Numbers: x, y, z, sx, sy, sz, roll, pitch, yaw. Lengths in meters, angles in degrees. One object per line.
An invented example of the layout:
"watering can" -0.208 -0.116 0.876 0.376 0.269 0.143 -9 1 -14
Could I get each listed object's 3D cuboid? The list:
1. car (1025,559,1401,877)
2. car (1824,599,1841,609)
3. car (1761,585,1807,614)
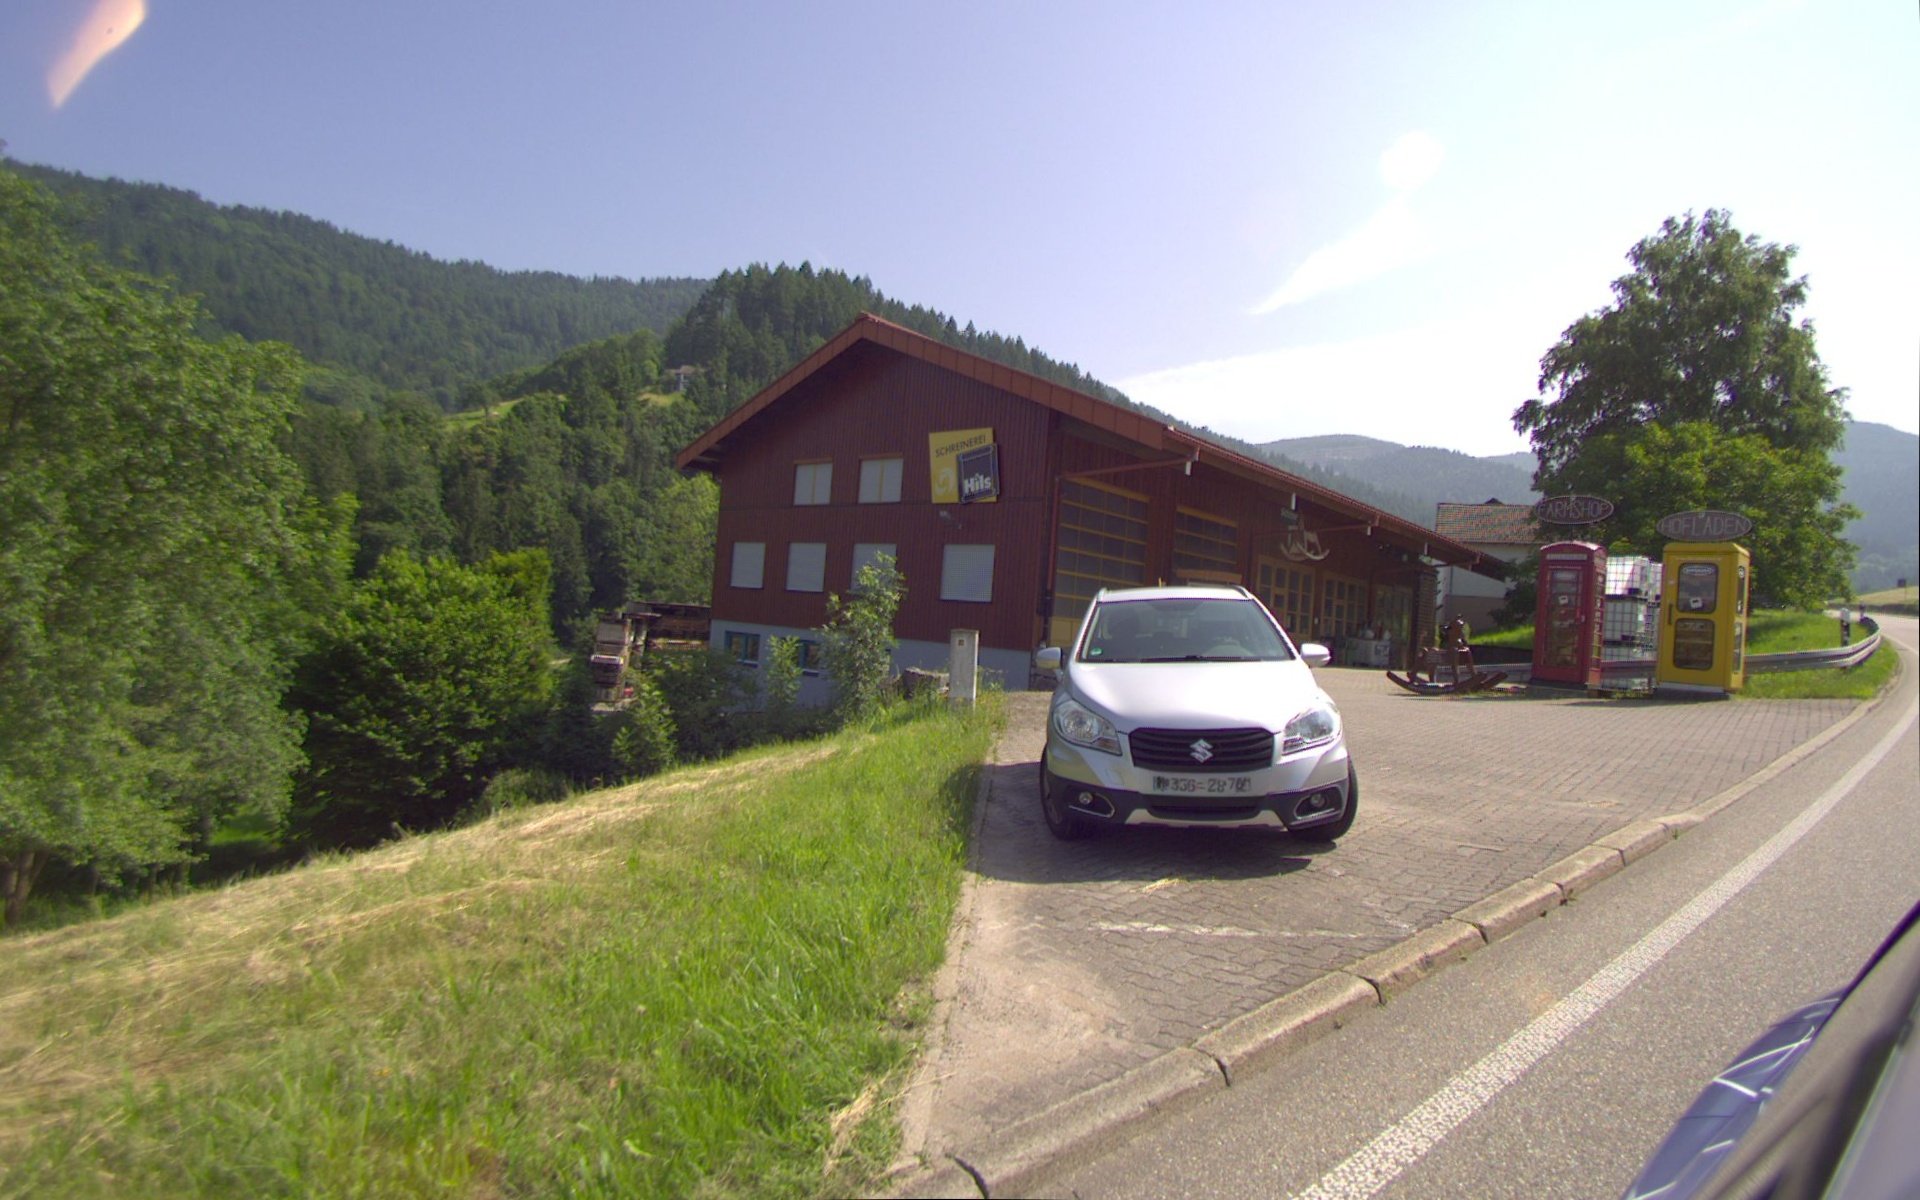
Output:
"car" 1.573 0.630 7.422 1.873 1.591 4.451 0 -1 8
"car" 142.021 0.685 164.735 1.807 1.528 4.205 2 1 37
"car" 56.601 -0.047 69.524 4.585 1.835 1.811 1 3 -44
